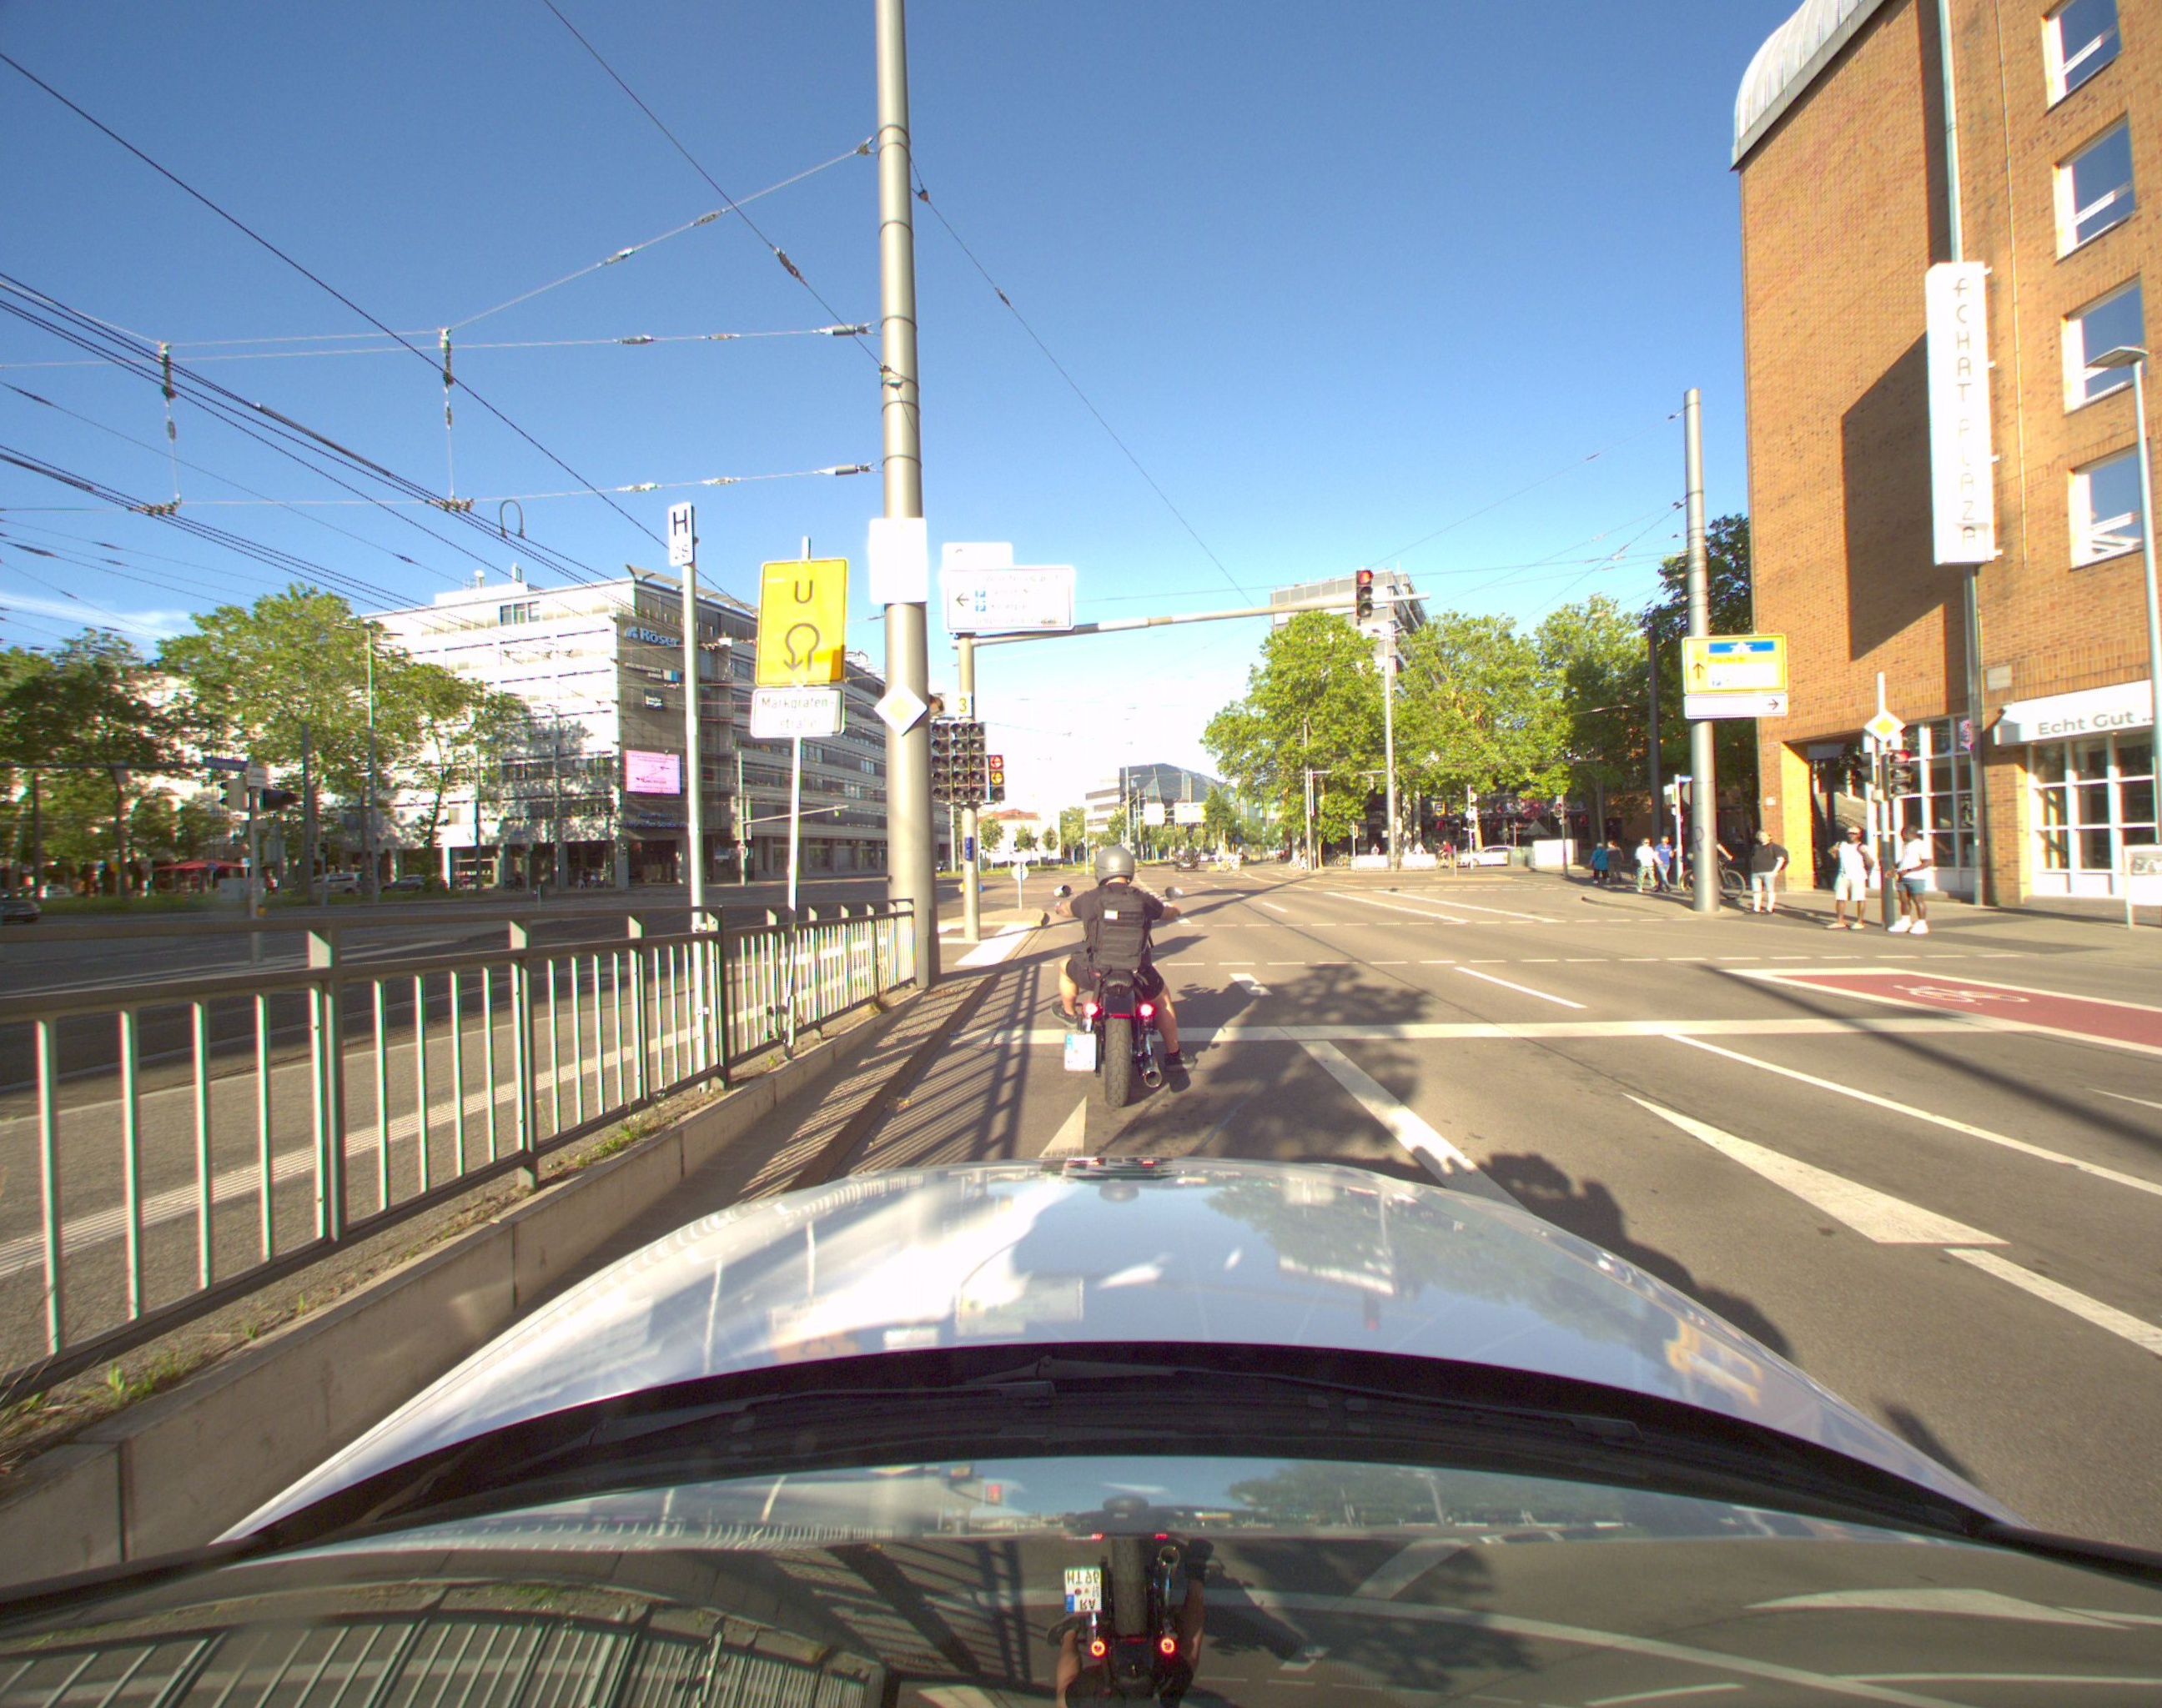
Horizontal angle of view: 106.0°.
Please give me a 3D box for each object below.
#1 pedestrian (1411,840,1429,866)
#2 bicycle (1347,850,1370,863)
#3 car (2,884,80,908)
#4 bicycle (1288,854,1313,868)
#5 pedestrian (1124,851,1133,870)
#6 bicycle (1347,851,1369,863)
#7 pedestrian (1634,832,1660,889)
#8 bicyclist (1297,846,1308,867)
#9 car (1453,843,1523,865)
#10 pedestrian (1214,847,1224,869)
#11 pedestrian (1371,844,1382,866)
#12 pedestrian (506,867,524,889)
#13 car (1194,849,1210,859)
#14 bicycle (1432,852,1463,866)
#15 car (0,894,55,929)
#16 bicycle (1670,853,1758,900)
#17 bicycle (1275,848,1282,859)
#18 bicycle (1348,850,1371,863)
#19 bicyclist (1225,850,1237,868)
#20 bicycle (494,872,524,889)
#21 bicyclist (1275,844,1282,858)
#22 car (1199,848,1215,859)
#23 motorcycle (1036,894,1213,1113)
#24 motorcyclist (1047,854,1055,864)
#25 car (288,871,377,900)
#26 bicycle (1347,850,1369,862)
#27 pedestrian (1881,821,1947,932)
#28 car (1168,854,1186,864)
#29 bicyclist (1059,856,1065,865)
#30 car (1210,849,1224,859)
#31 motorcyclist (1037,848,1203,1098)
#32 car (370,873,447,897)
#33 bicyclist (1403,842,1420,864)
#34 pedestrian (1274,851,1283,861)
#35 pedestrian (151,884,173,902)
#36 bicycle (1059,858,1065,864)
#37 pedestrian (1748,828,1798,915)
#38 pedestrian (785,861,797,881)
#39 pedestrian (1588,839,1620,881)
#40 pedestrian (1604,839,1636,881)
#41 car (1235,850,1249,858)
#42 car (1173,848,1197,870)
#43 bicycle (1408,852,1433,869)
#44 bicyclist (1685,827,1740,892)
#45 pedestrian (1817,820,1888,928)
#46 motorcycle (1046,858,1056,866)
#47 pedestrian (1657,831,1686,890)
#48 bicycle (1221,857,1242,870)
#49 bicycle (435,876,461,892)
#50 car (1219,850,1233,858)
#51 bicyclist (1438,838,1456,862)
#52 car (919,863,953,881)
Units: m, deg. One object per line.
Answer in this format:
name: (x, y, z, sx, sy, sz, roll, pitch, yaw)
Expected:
pedestrian: (20.900, -0.061, 50.275, 0.767, 1.594, 0.838, 0, -1, 1)
bicycle: (22.506, 0.215, 66.021, 1.692, 0.986, 0.392, -2, 0, 15)
car: (-79.776, 3.211, 62.504, 3.835, 1.638, 1.869, -2, 0, 6)
bicycle: (17.532, 0.581, 65.019, 1.840, 1.021, 0.518, -2, -1, 13)
pedestrian: (4.022, 0.572, 69.074, 0.654, 1.582, 0.490, -1, 0, 5)
bicycle: (22.761, 0.241, 66.925, 1.692, 0.986, 0.392, -2, 0, 15)
pedestrian: (16.919, 0.196, 24.365, 0.556, 1.704, 0.663, -1, -1, 30)
bicyclist: (17.697, 0.206, 65.002, 0.737, 1.694, 0.572, -2, -1, 13)
car: (28.865, -0.008, 57.836, 3.967, 1.486, 2.003, 0, -1, 6)
pedestrian: (11.715, 0.359, 69.113, 0.693, 1.837, 0.518, -1, -1, 37)
pedestrian: (26.104, 0.082, 71.994, 0.840, 1.852, 0.813, 1, 0, 16)
pedestrian: (-43.361, 1.814, 62.400, 0.831, 1.610, 0.607, 0, 3, 5)
car: (20.179, 0.018, 135.255, 1.758, 1.514, 3.752, -2, 0, 22)
bicycle: (25.287, 0.321, 56.153, 1.844, 0.910, 0.653, -2, 0, 6)
car: (-45.175, 2.368, 33.566, 3.599, 1.328, 1.655, 0, -1, -1)
bicycle: (15.688, 0.529, 20.253, 0.599, 1.050, 1.881, -6, 0, 0)
bicycle: (27.416, -0.042, 112.976, 0.853, 1.481, 2.588, -2, 0, 17)
bicycle: (22.311, 0.179, 65.180, 1.692, 0.986, 0.392, -2, 0, 15)
bicyclist: (12.360, 0.419, 67.059, 0.736, 1.503, 0.573, -2, -1, 25)
bicycle: (-43.443, 2.016, 61.887, 1.834, 1.163, 0.613, -1, 3, 3)
bicyclist: (27.368, -0.447, 112.853, 0.853, 1.841, 1.263, -2, 0, 17)
car: (21.845, -0.057, 140.950, 1.803, 1.818, 3.965, -2, 0, 22)
motorcycle: (0.284, 0.913, 5.822, 1.002, 1.125, 2.324, 0, 0, 2)
motorcyclist: (-5.383, 0.845, 144.891, 1.012, 1.731, 1.466, -2, 0, 13)
car: (-56.250, 2.353, 61.249, 4.888, 1.843, 1.930, -2, 2, 3)
bicycle: (22.902, 0.171, 67.384, 1.692, 0.986, 0.392, -2, 0, 15)
pedestrian: (13.780, 0.362, 13.487, 0.402, 1.774, 0.580, -3, -1, 5)
car: (14.261, 0.732, 120.257, 1.886, 1.508, 4.018, -1, -1, 18)
bicyclist: (-3.535, 1.222, 152.843, 0.757, 1.667, 0.999, -1, 0, 19)
car: (24.701, -0.032, 147.975, 1.705, 1.657, 3.774, -2, 0, 22)
motorcyclist: (0.263, 0.741, 5.715, 1.018, 1.552, 1.287, 0, 0, 1)
car: (-50.667, 2.342, 61.395, 4.378, 1.572, 1.869, -2, 2, 6)
bicyclist: (29.204, -0.100, 71.912, 1.218, 1.931, 0.838, -1, 0, 11)
pedestrian: (21.944, 0.214, 90.334, 0.777, 1.057, 0.819, -2, 0, 24)
pedestrian: (-81.915, 3.432, 72.616, 0.985, 1.546, 0.875, -2, -1, 9)
bicycle: (-3.544, 1.357, 152.818, 0.637, 1.107, 1.693, -1, 0, 20)
pedestrian: (14.329, 0.347, 16.868, 0.577, 1.767, 0.687, -1, 1, -39)
pedestrian: (-27.696, 1.604, 77.834, 0.670, 1.823, 0.888, -3, -1, 12)
pedestrian: (19.398, 0.219, 30.227, 0.674, 1.539, 0.741, 0, -1, -6)
pedestrian: (20.208, 0.216, 30.530, 0.649, 1.539, 0.741, 0, -1, -6)
car: (29.306, 0.059, 148.328, 1.826, 1.464, 4.019, -1, -1, 19)
car: (9.158, 0.423, 71.739, 2.041, 1.874, 4.236, 0, -1, 8)
bicycle: (20.888, 0.392, 50.081, 0.786, 1.052, 1.924, 0, -1, 2)
bicyclist: (15.669, 0.130, 20.221, 0.577, 1.515, 0.849, -6, 1, -3)
pedestrian: (13.539, 0.349, 14.296, 0.500, 1.833, 0.725, -3, -1, -33)
motorcycle: (-5.383, 1.399, 144.781, 0.976, 1.232, 2.953, -2, 0, 13)
pedestrian: (17.539, 0.203, 24.205, 0.596, 1.727, 0.606, -1, -1, 29)
bicycle: (12.369, 0.749, 67.057, 1.612, 1.021, 0.519, -2, -1, 25)
bicycle: (-51.192, 2.395, 65.862, 0.466, 1.151, 1.844, -1, 1, 9)
car: (27.663, -0.049, 155.595, 1.705, 1.484, 3.775, -2, 0, 24)
bicyclist: (25.240, -0.280, 56.152, 0.921, 1.615, 0.638, -2, 0, 5)
car: (-14.017, 1.712, 79.038, 1.780, 1.465, 4.324, -2, 0, 10)
